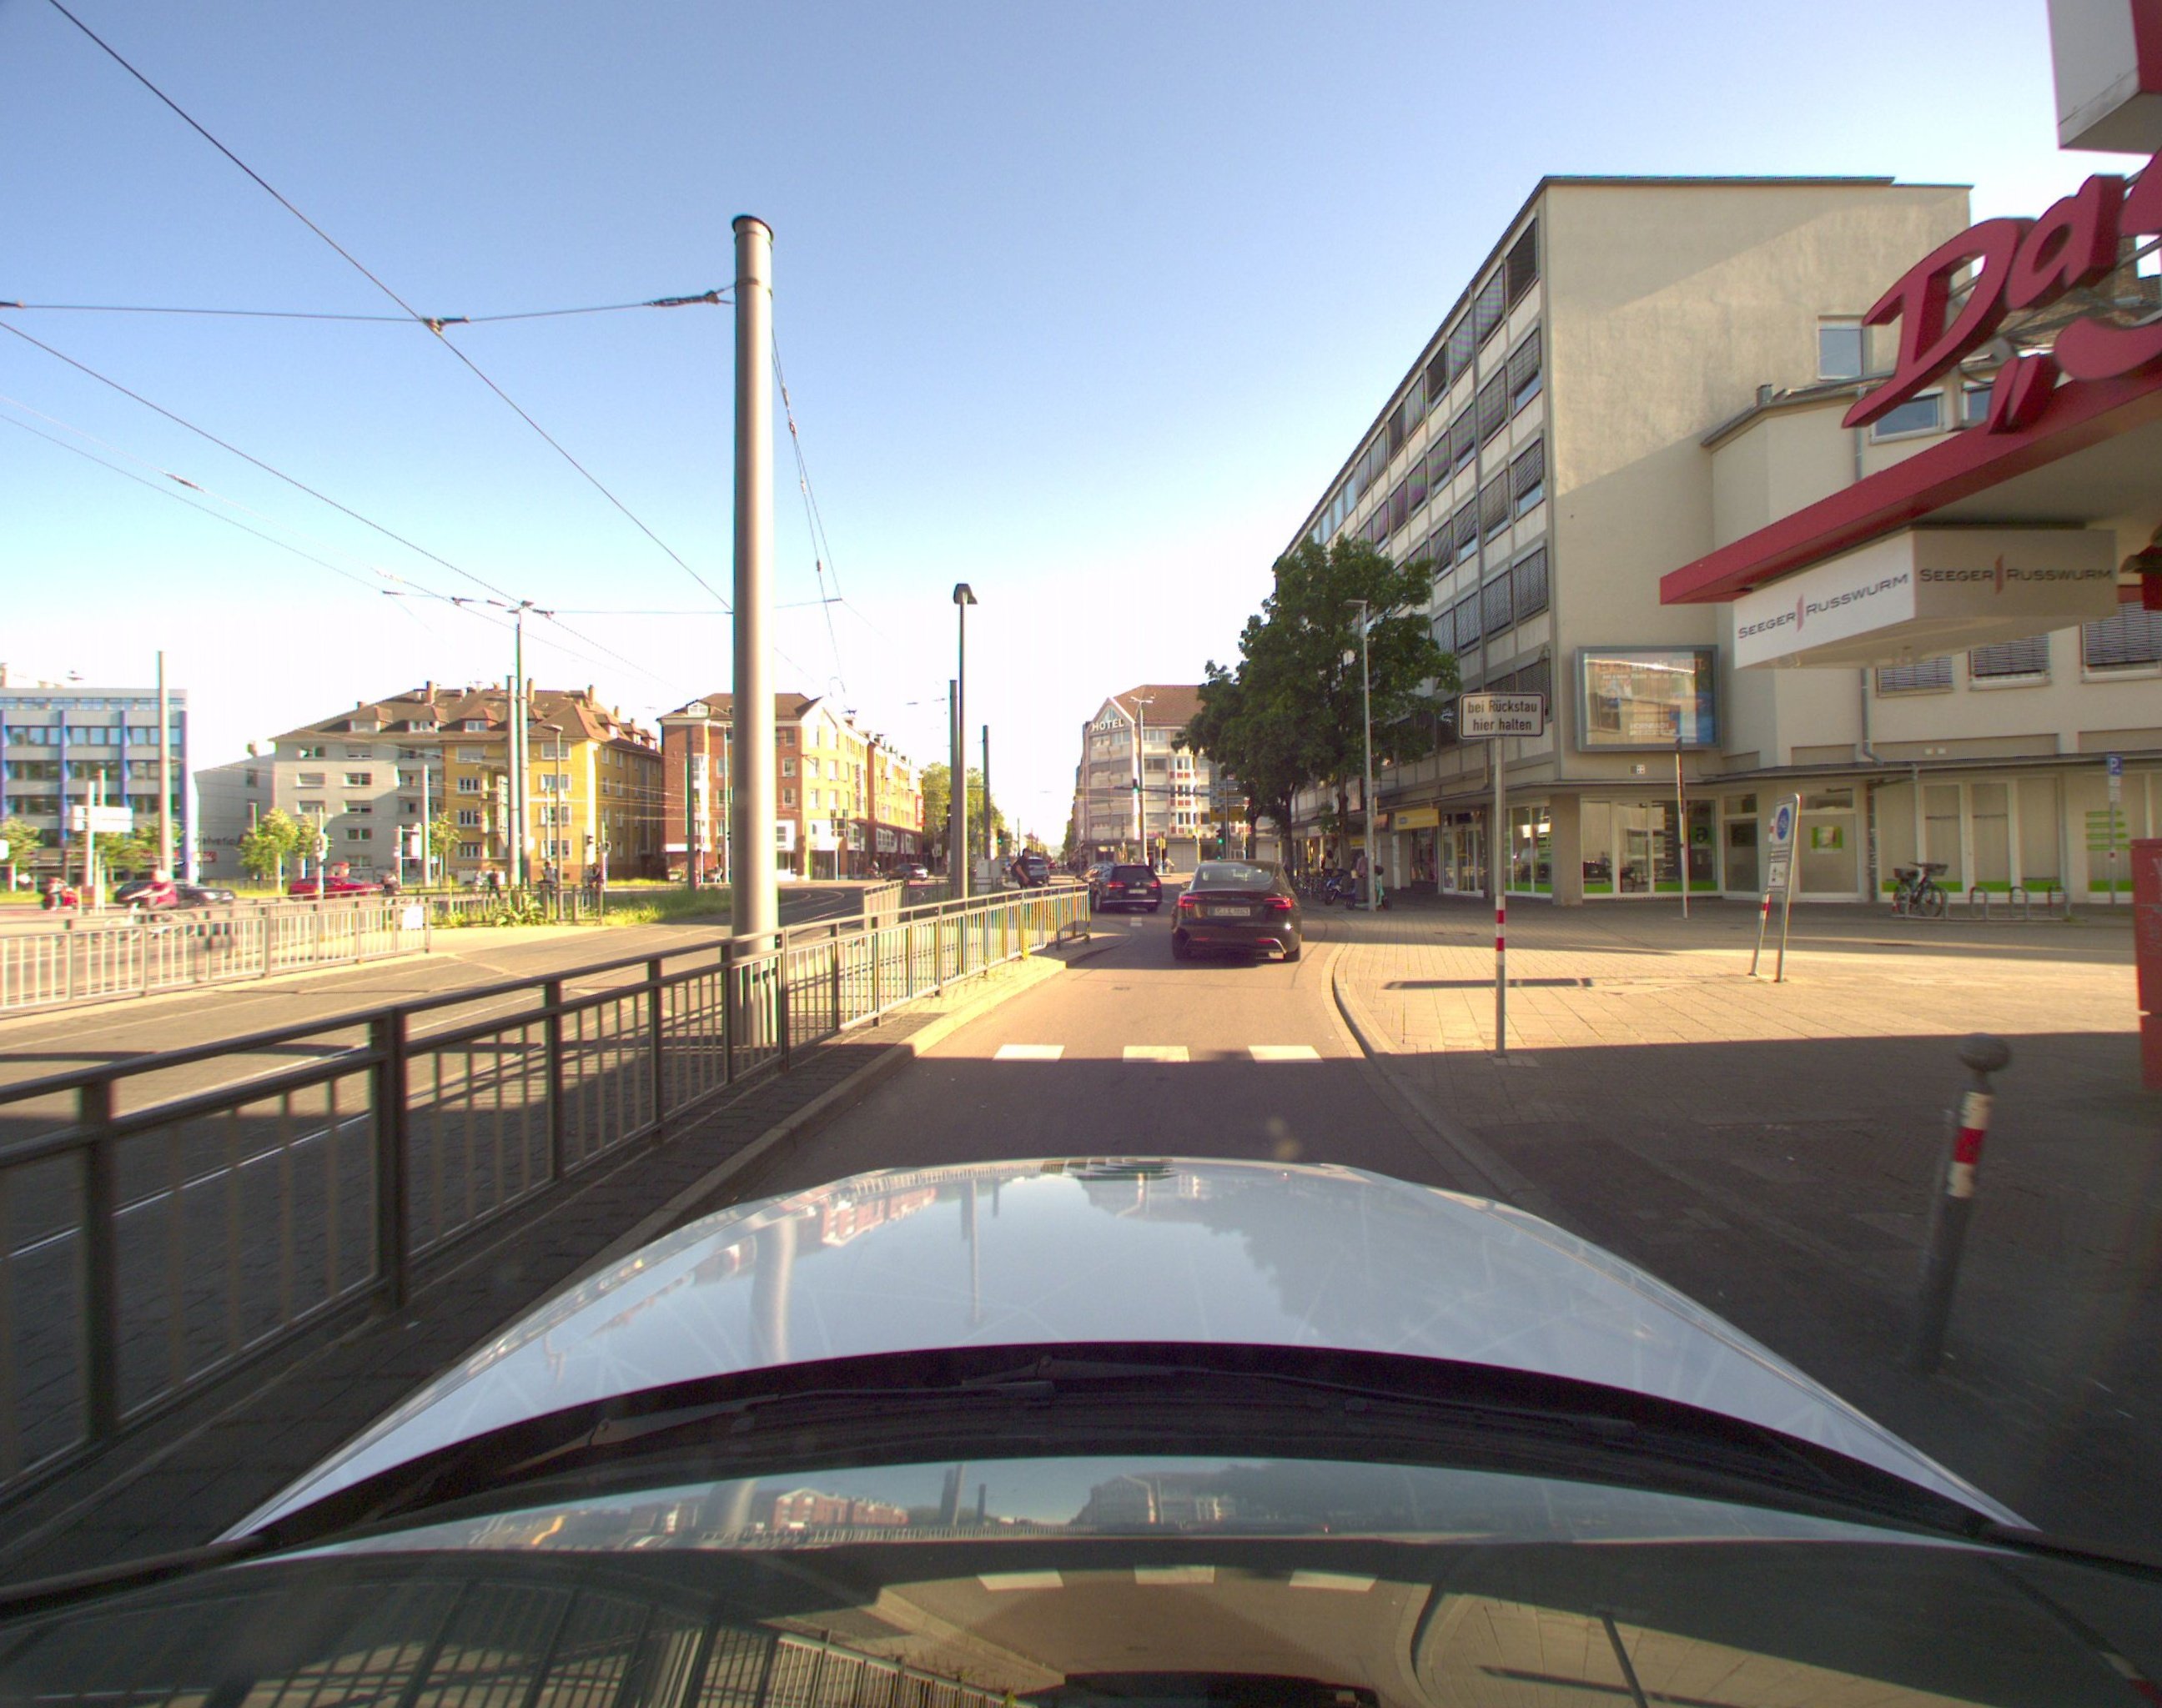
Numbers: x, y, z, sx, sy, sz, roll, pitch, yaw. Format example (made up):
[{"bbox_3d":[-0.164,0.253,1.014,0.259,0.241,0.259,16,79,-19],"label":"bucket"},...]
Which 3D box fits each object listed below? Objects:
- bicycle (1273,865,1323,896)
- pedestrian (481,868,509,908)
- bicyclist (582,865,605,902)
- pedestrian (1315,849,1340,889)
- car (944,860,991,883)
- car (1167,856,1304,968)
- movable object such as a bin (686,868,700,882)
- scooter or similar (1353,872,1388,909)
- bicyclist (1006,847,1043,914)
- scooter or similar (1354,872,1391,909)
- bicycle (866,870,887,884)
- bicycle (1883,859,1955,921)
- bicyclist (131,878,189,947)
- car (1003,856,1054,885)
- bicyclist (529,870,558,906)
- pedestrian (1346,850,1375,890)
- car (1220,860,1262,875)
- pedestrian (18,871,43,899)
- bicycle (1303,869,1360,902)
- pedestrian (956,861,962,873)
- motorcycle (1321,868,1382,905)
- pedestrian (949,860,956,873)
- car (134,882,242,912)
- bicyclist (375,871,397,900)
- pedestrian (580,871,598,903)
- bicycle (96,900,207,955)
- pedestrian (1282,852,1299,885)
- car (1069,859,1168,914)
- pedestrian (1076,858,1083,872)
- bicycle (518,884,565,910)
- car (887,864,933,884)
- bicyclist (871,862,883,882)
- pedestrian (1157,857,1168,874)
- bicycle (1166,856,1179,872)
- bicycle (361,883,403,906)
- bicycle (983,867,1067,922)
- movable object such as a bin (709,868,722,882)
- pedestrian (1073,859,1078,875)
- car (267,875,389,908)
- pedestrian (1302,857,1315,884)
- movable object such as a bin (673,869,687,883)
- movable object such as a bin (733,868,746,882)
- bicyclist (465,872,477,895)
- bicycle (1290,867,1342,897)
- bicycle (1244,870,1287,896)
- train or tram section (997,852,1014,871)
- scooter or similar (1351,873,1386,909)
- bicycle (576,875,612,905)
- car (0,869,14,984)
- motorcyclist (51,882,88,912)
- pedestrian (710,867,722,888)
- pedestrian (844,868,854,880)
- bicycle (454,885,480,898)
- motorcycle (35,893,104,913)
[{"bbox_3d":[8.477,1.016,31.839,1.806,1.151,0.435,-1,-1,-4],"label":"bicycle"},{"bbox_3d":[-29.099,1.674,40.450,0.718,1.934,0.801,-1,-1,13],"label":"pedestrian"},{"bbox_3d":[-22.131,1.324,36.977,0.587,1.649,0.804,0,-1,-6],"label":"bicyclist"},{"bbox_3d":[10.705,0.654,35.398,0.840,1.707,0.880,-1,-1,0],"label":"pedestrian"},{"bbox_3d":[-8.179,1.264,58.322,1.586,1.618,3.739,0,-1,-40],"label":"car"},{"bbox_3d":[2.540,0.769,12.782,1.777,1.451,3.955,-1,0,14],"label":"car"},{"bbox_3d":[-39.891,2.156,83.664,0.995,1.437,1.093,0,-1,-9],"label":"movable object such as a bin"},{"bbox_3d":[8.392,1.056,23.612,0.952,1.039,0.160,-1,-1,3],"label":"scooter or similar"},{"bbox_3d":[-1.306,0.604,18.833,0.684,1.523,0.630,0,-1,-24],"label":"bicyclist"},{"bbox_3d":[8.381,1.041,23.414,0.959,1.043,0.160,-1,-1,3],"label":"scooter or similar"},{"bbox_3d":[-18.589,2.091,73.892,2.014,1.223,0.632,-1,-1,32],"label":"bicycle"},{"bbox_3d":[17.671,0.729,17.211,0.437,1.160,1.510,-1,3,20],"label":"bicycle"},{"bbox_3d":[-23.083,1.447,20.422,0.518,1.673,0.770,-1,-1,2],"label":"bicyclist"},{"bbox_3d":[-3.185,0.994,48.832,1.849,1.635,3.456,0,-1,-26],"label":"car"},{"bbox_3d":[-22.452,1.420,34.031,0.660,1.454,0.731,-1,-1,4],"label":"bicyclist"},{"bbox_3d":[11.411,0.638,33.259,0.840,1.602,0.880,-1,-1,0],"label":"pedestrian"},{"bbox_3d":[16.248,1.402,82.889,3.834,1.432,1.800,-1,-3,-5],"label":"car"},{"bbox_3d":[-78.133,2.294,60.565,0.806,2.010,0.798,0,-1,-15],"label":"pedestrian"},{"bbox_3d":[8.554,1.067,27.809,1.850,1.056,0.398,-2,-1,-11],"label":"bicycle"},{"bbox_3d":[-15.867,1.644,105.949,0.585,1.531,0.634,0,-1,-16],"label":"pedestrian"},{"bbox_3d":[8.551,1.022,25.758,1.782,1.130,0.504,0,-1,-2],"label":"motorcycle"},{"bbox_3d":[-17.418,1.739,110.354,0.578,1.721,0.641,-1,-1,27],"label":"pedestrian"},{"bbox_3d":[-47.260,2.246,43.146,3.696,1.472,1.571,0,-1,-7],"label":"car"},{"bbox_3d":[-35.651,1.614,41.786,0.615,1.493,0.607,0,-1,-13],"label":"bicyclist"},{"bbox_3d":[-27.036,1.803,44.759,0.625,1.688,0.703,0,1,-12],"label":"pedestrian"},{"bbox_3d":[-23.079,1.806,20.281,0.527,1.214,1.886,-1,-1,3],"label":"bicycle"},{"bbox_3d":[11.054,0.745,42.909,0.837,1.721,0.883,-1,-1,13],"label":"pedestrian"},{"bbox_3d":[0.991,0.885,24.174,1.767,1.444,4.507,0,0,-14],"label":"car"},{"bbox_3d":[-0.192,1.417,102.156,0.912,1.755,0.839,0,-1,-1],"label":"pedestrian"},{"bbox_3d":[-22.514,1.802,34.045,0.647,1.013,1.886,-1,-1,3],"label":"bicycle"},{"bbox_3d":[-13.705,1.566,65.087,3.429,1.551,1.742,-1,-1,37],"label":"car"},{"bbox_3d":[-18.485,1.632,73.825,0.820,1.772,0.618,-1,-1,32],"label":"bicyclist"},{"bbox_3d":[7.617,1.053,75.784,0.780,1.576,0.863,0,0,-14],"label":"pedestrian"},{"bbox_3d":[8.514,0.973,75.776,0.583,1.463,1.677,-1,-1,-14],"label":"bicycle"},{"bbox_3d":[-35.818,2.047,41.736,1.497,1.133,0.609,0,-1,-14],"label":"bicycle"},{"bbox_3d":[-1.289,0.922,18.830,1.828,1.212,0.636,0,-1,-24],"label":"bicycle"},{"bbox_3d":[-37.606,2.191,83.816,0.995,1.437,1.093,0,-1,-9],"label":"movable object such as a bin"},{"bbox_3d":[-0.619,1.495,91.192,0.625,1.782,0.917,0,-1,-2],"label":"pedestrian"},{"bbox_3d":[-40.633,2.001,44.039,4.549,1.509,1.777,-2,-1,-10],"label":"car"},{"bbox_3d":[11.874,0.857,42.481,0.640,1.422,0.623,-1,-1,13],"label":"pedestrian"},{"bbox_3d":[-41.102,2.218,83.447,0.995,1.437,1.093,0,-1,-9],"label":"movable object such as a bin"},{"bbox_3d":[-35.250,2.192,84.100,0.995,1.437,1.093,0,-1,-9],"label":"movable object such as a bin"},{"bbox_3d":[-36.043,1.751,48.098,0.459,1.316,0.398,0,-1,-15],"label":"bicyclist"},{"bbox_3d":[8.591,1.026,29.848,1.758,1.057,0.458,-1,-1,5],"label":"bicycle"},{"bbox_3d":[8.817,1.394,38.912,1.883,1.156,0.480,-3,-1,1],"label":"bicycle"},{"bbox_3d":[-14.721,1.470,159.313,2.721,3.542,10.080,0,-1,-1],"label":"train or tram section"},{"bbox_3d":[8.403,1.069,23.812,0.959,1.027,0.160,-1,-1,3],"label":"scooter or similar"},{"bbox_3d":[-22.127,1.610,37.009,0.572,1.291,2.023,0,-1,-5],"label":"bicycle"},{"bbox_3d":[-14.740,0.947,8.981,1.691,1.560,4.092,0,-1,-22],"label":"car"},{"bbox_3d":[-52.676,2.209,42.413,0.919,1.524,0.780,0,-1,-6],"label":"motorcyclist"},{"bbox_3d":[-31.020,1.988,69.234,0.694,1.710,0.928,0,-1,-6],"label":"pedestrian"},{"bbox_3d":[-28.810,2.473,101.185,0.876,1.568,0.868,-1,-1,22],"label":"pedestrian"},{"bbox_3d":[-36.181,2.217,48.023,1.174,0.764,0.318,0,-1,-16],"label":"bicycle"},{"bbox_3d":[-52.656,2.560,42.414,2.356,0.984,0.789,0,-1,-7],"label":"motorcycle"}]
